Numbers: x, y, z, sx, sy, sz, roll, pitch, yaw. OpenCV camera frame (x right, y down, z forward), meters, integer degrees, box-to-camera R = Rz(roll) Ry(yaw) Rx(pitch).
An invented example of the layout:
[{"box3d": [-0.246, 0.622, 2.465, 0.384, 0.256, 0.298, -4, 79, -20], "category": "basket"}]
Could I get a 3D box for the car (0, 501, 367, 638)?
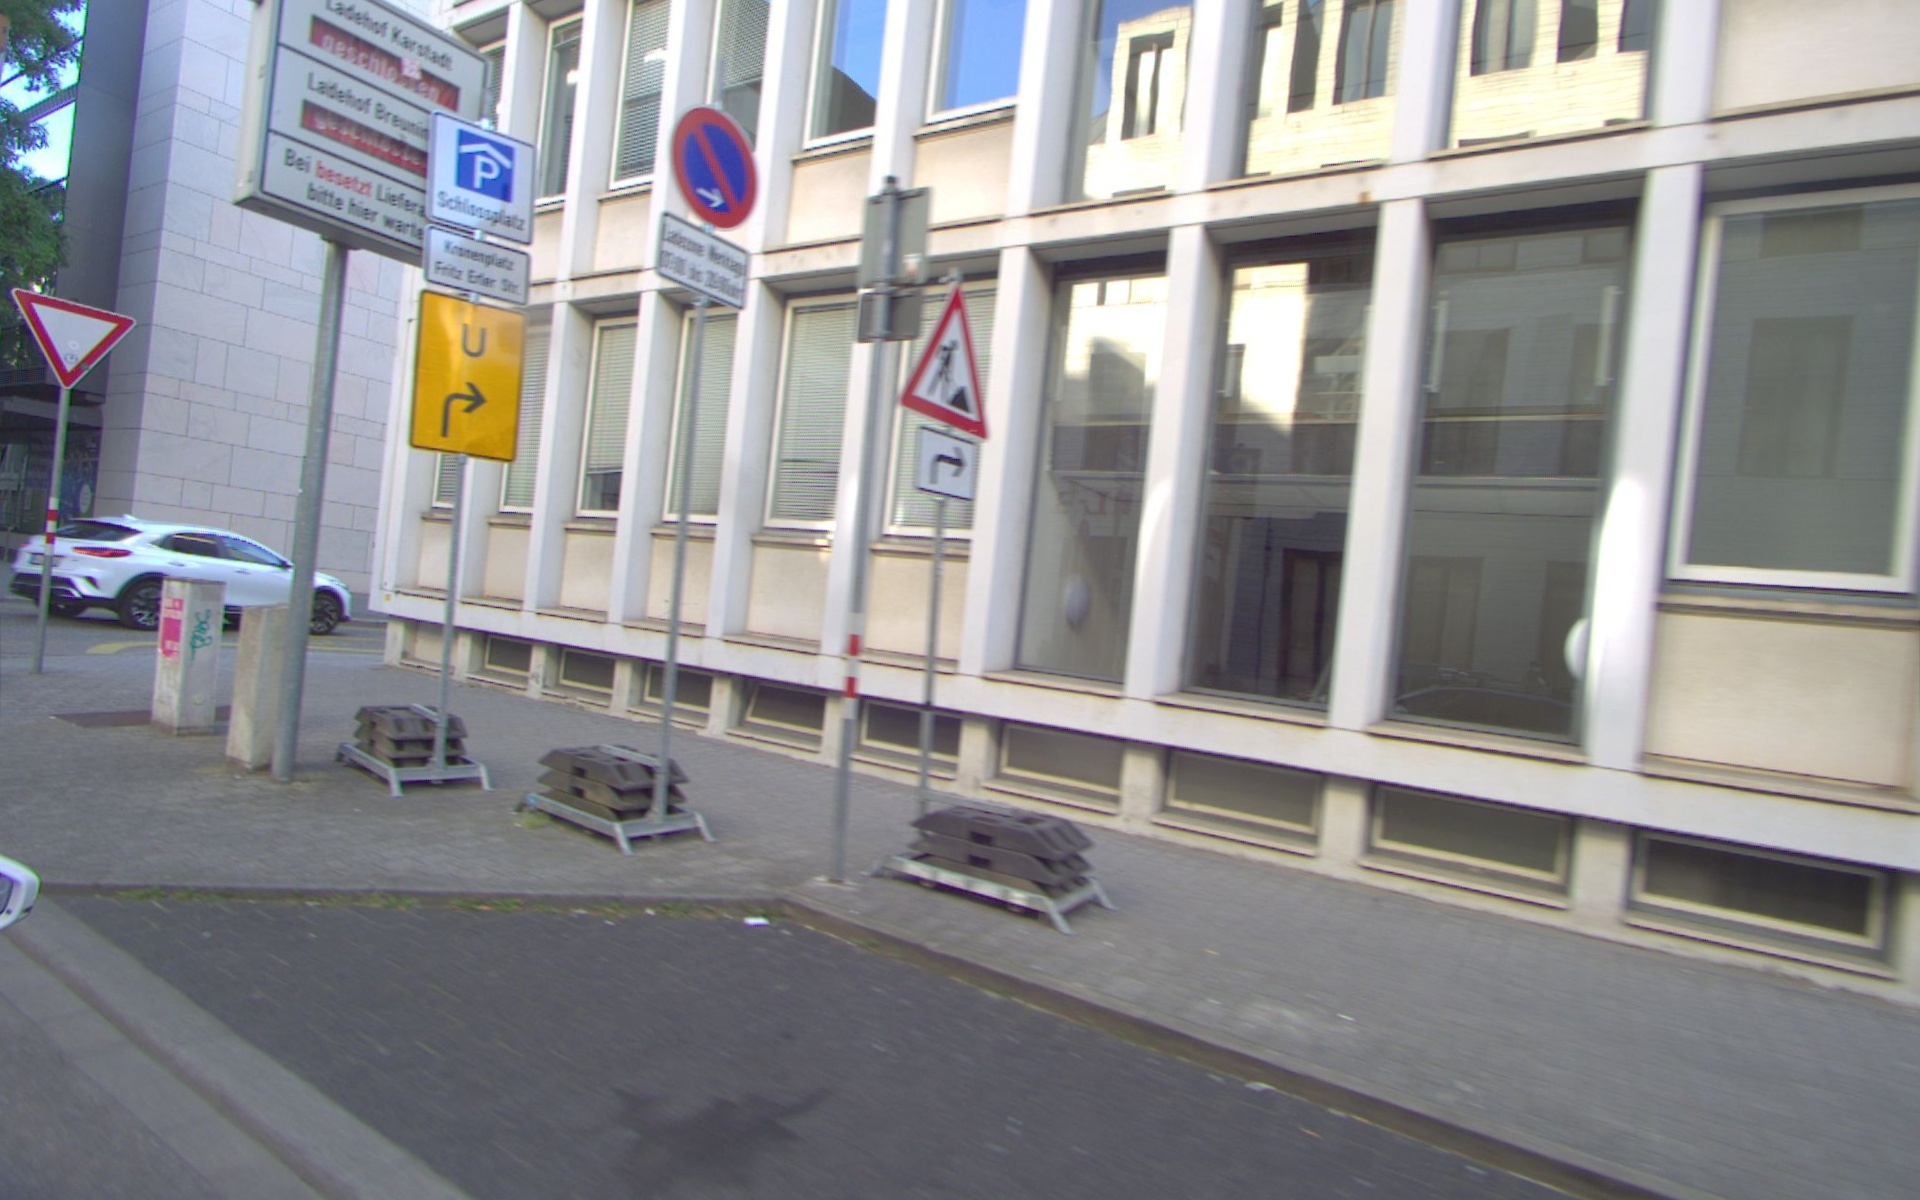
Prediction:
[{"box3d": [-11.367, -0.344, 14.949, 1.793, 1.560, 4.266, 6, -1, 15], "category": "car"}]
